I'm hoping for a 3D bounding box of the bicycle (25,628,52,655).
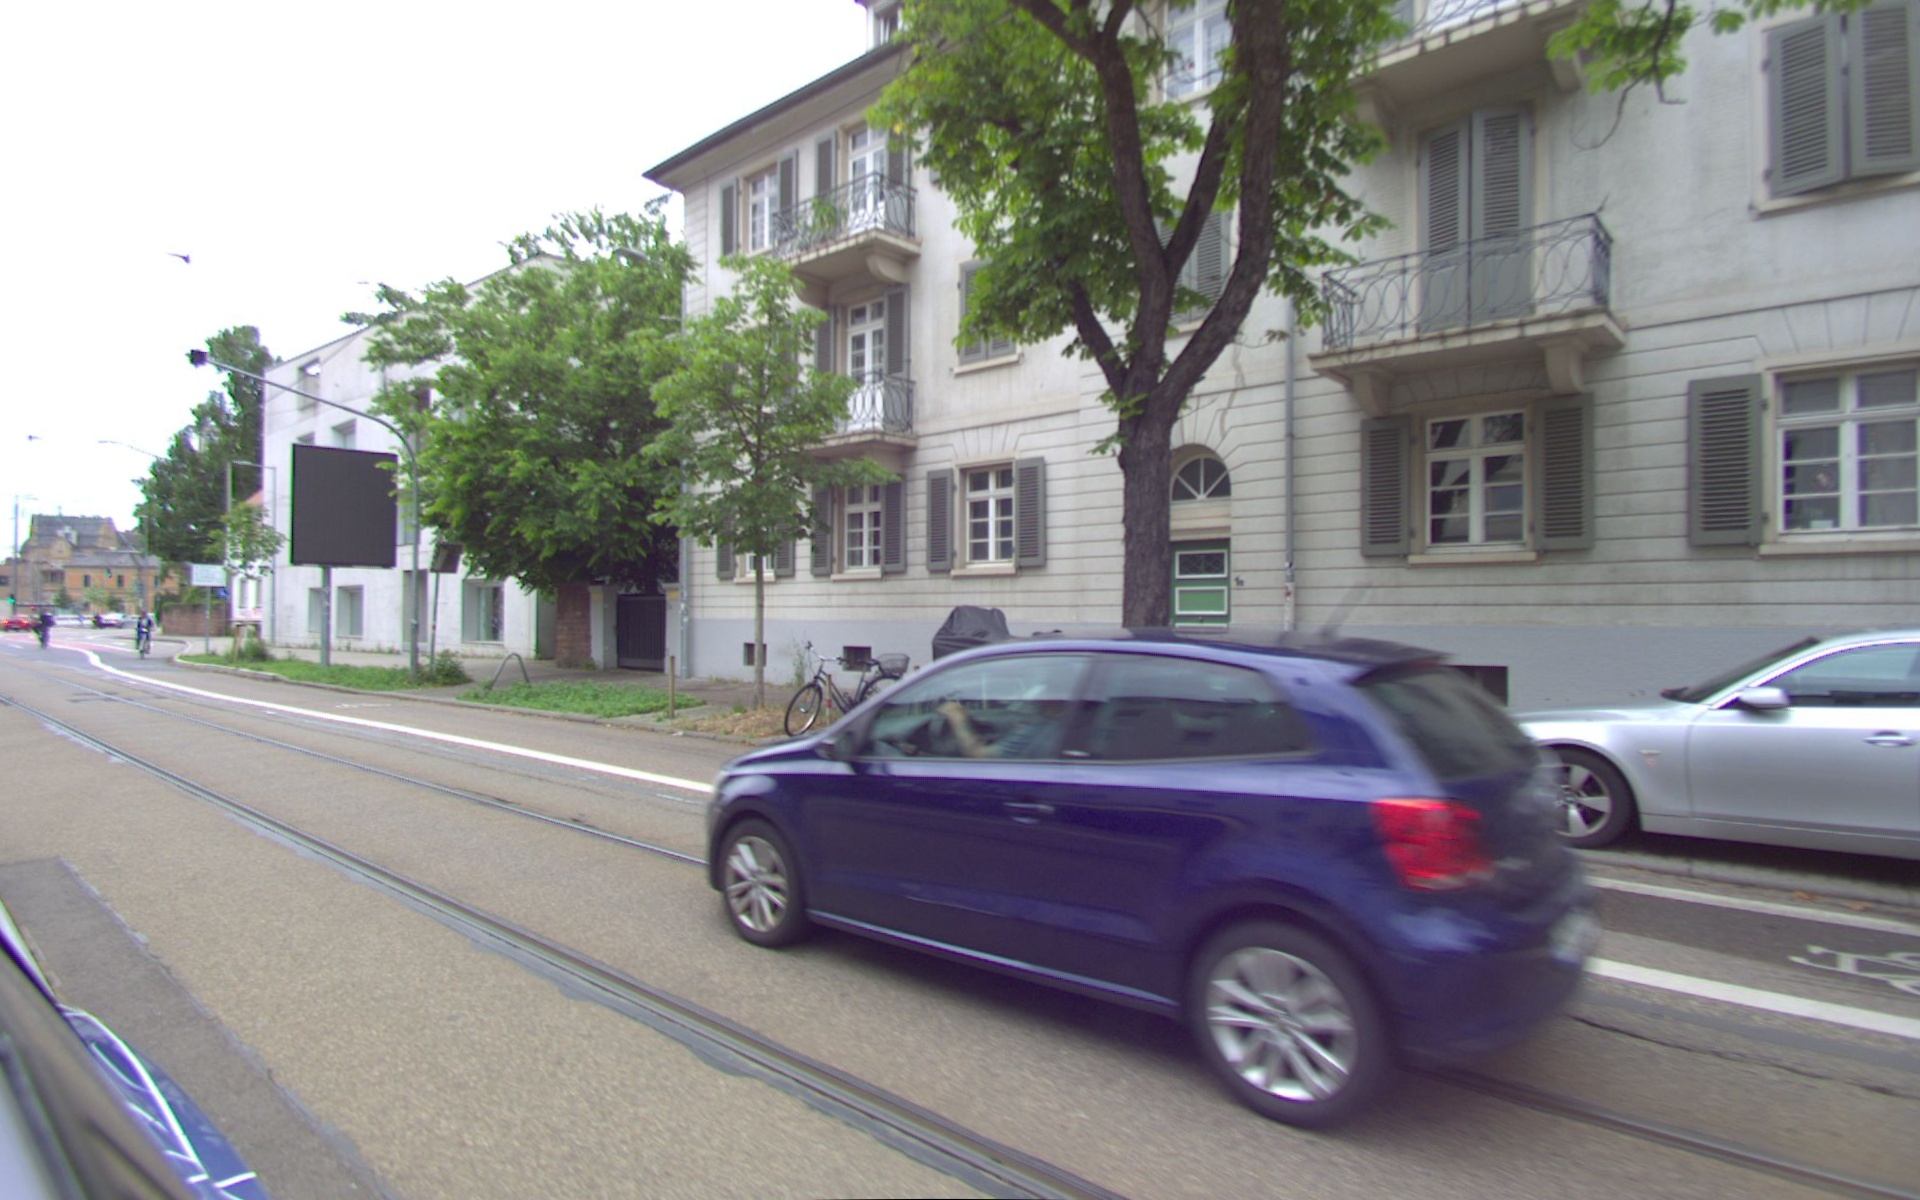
[{"bbox_3d":[-41.940,1.886,46.088,0.781,1.195,2.013,5,-5,-41],"label":"bicycle"}]

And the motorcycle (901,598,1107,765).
[{"bbox_3d":[0.425,0.832,11.280,0.822,1.655,2.484,2,-2,-40],"label":"motorcycle"}]

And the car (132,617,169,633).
[{"bbox_3d":[-87.879,2.696,109.893,1.658,1.663,3.991,0,-1,-14],"label":"car"}]

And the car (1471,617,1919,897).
[{"bbox_3d":[5.777,0.844,5.998,4.611,1.477,1.793,-1,-1,41],"label":"car"}]

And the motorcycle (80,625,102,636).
[{"bbox_3d":[-84.685,2.983,98.626,1.038,1.077,2.657,1,-1,-27],"label":"motorcycle"}]

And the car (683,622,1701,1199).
[{"bbox_3d":[0.653,0.800,4.100,3.654,1.419,1.711,-1,-2,41],"label":"car"}]

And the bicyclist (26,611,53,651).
[{"bbox_3d":[-41.955,1.423,46.136,0.781,1.797,1.149,5,-5,-41],"label":"bicyclist"}]

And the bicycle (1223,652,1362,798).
[{"bbox_3d":[2.915,1.013,8.742,0.563,1.035,1.877,-1,0,37],"label":"bicycle"}]

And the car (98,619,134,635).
[{"bbox_3d":[-85.871,2.751,102.971,1.469,1.520,3.479,1,-1,-16],"label":"car"}]

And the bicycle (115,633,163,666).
[{"bbox_3d":[-31.294,1.863,38.614,0.763,1.221,1.874,1,-2,-17],"label":"bicycle"}]

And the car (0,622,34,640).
[{"bbox_3d":[-80.885,2.627,86.725,1.732,1.511,4.010,3,-2,-35],"label":"car"}]

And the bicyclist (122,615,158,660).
[{"bbox_3d":[-31.311,1.439,38.676,0.763,1.703,0.871,1,-2,-17],"label":"bicyclist"}]

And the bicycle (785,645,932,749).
[{"bbox_3d":[-1.239,1.160,12.505,1.718,1.137,0.519,-1,-1,-31],"label":"bicycle"}]

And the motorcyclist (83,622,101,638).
[{"bbox_3d":[-84.818,2.922,98.884,1.058,1.497,1.255,1,-1,-27],"label":"motorcyclist"}]
